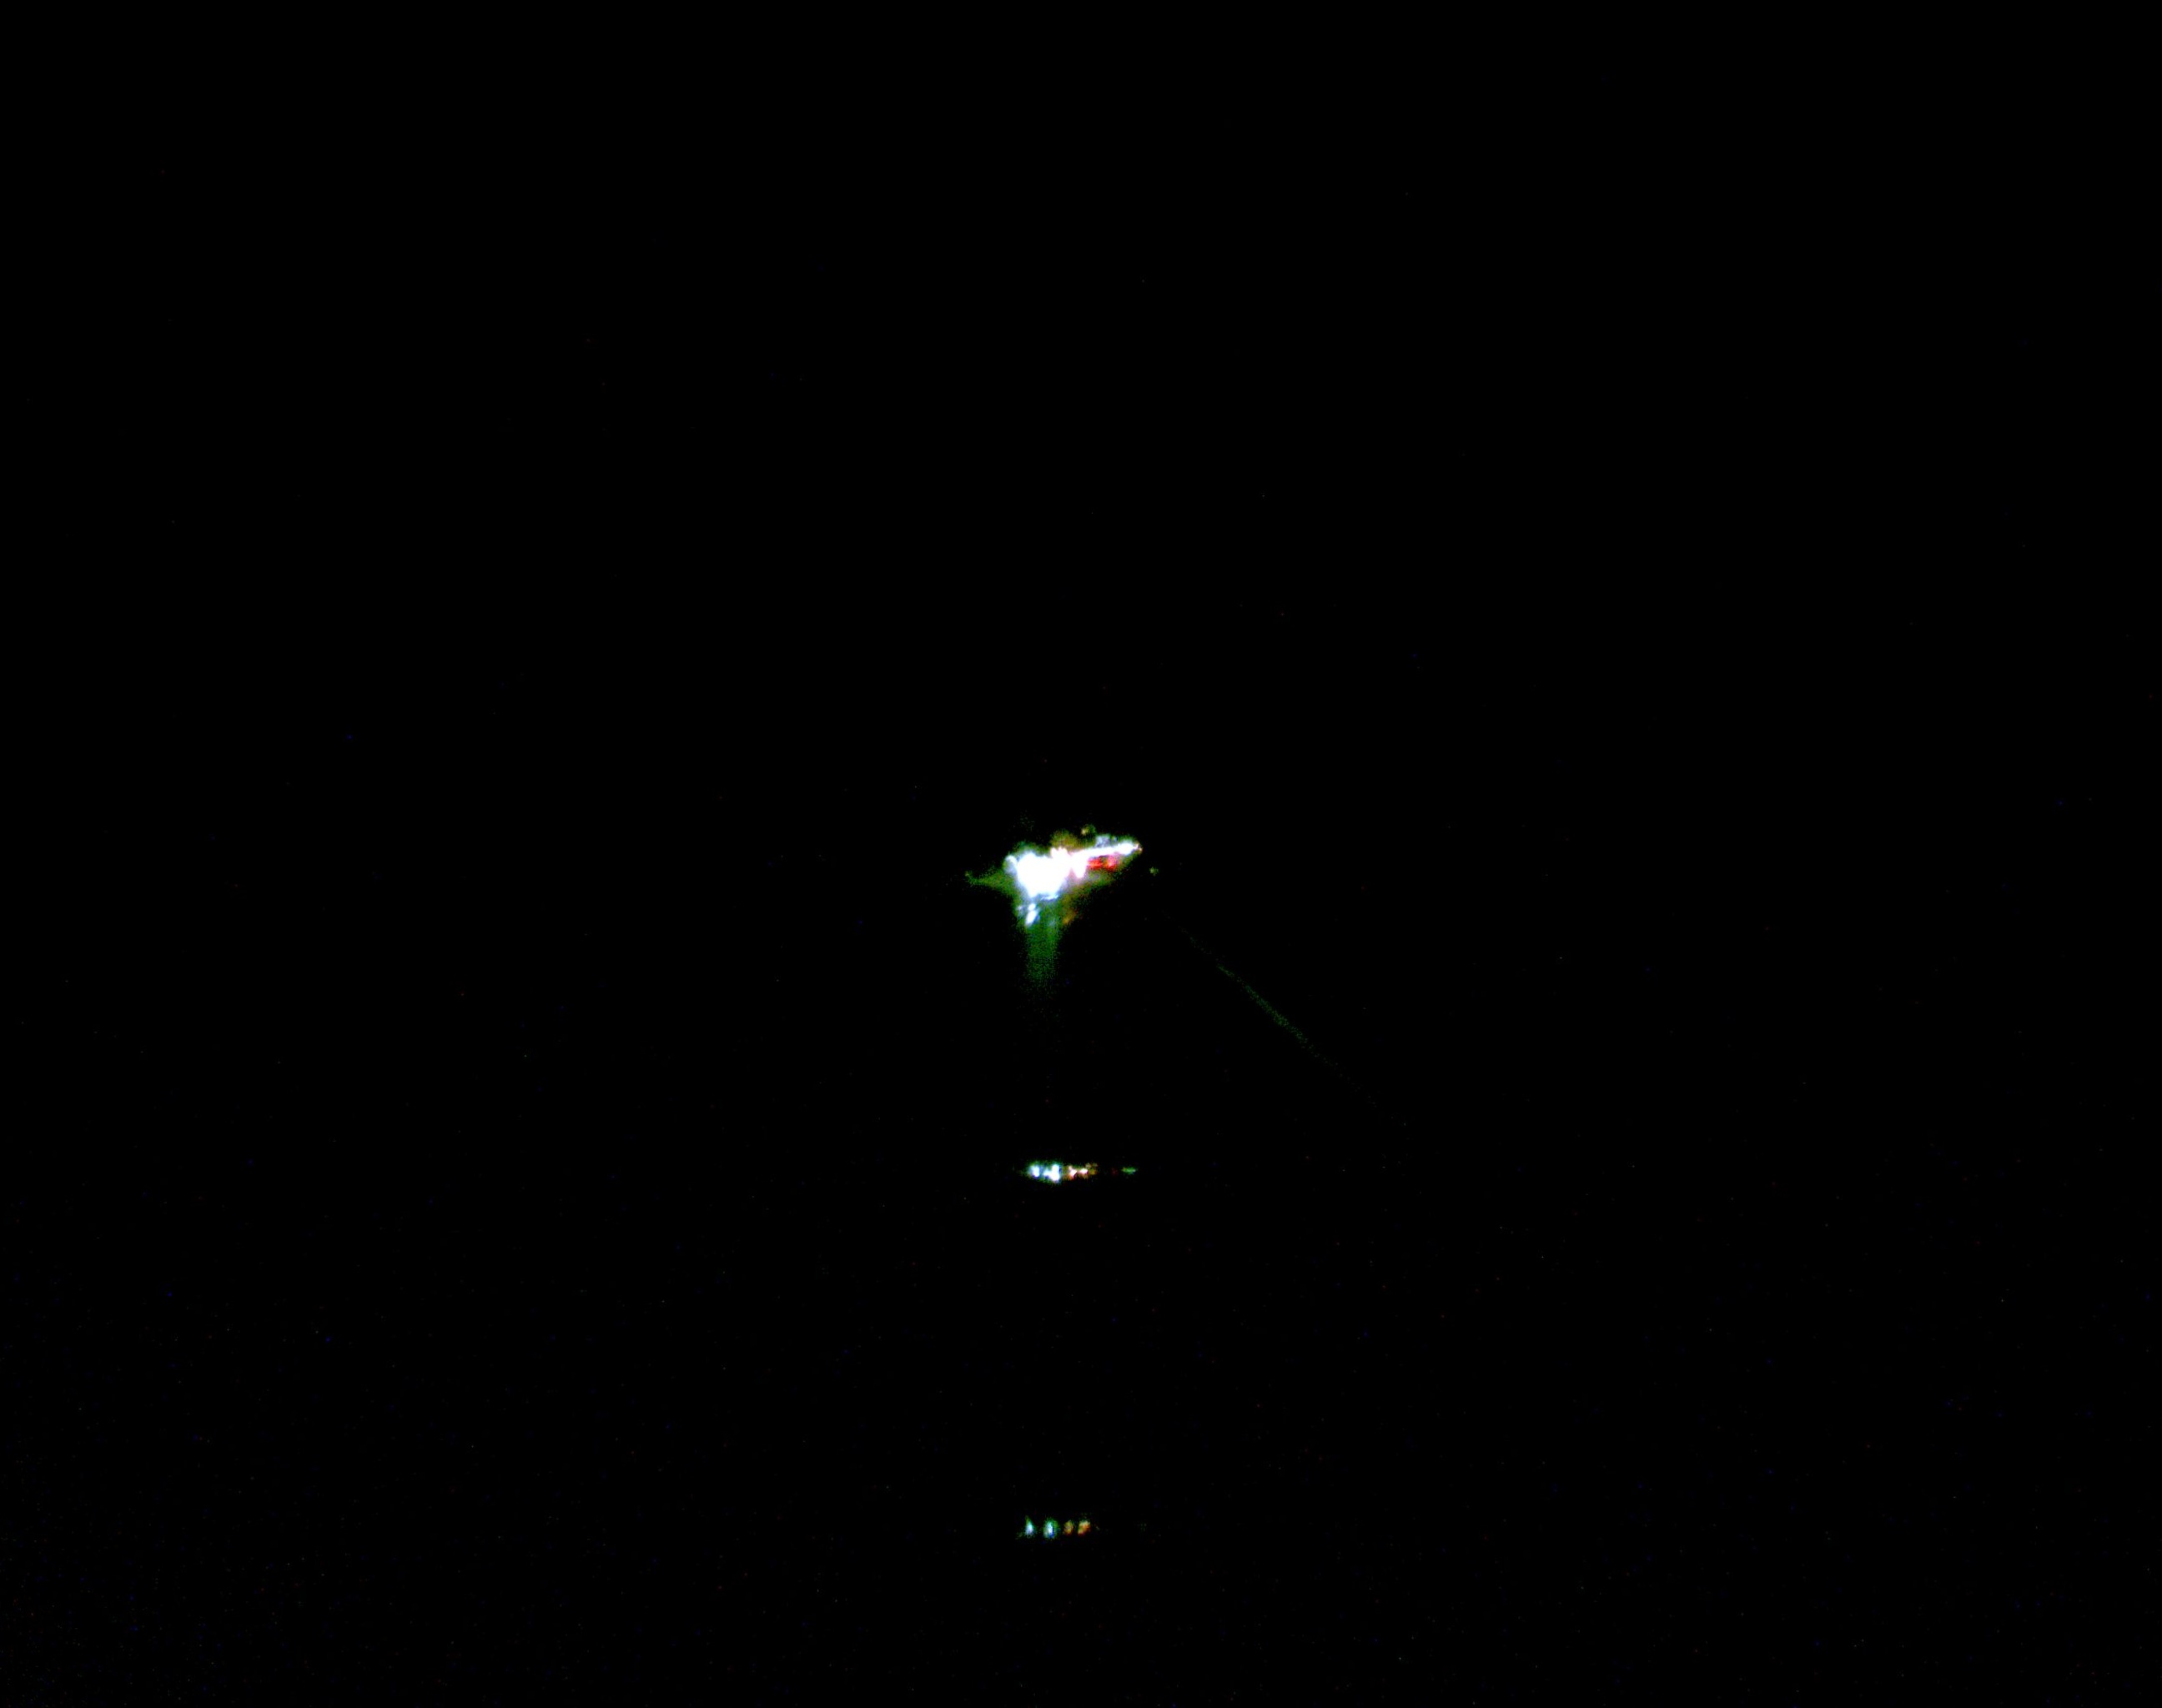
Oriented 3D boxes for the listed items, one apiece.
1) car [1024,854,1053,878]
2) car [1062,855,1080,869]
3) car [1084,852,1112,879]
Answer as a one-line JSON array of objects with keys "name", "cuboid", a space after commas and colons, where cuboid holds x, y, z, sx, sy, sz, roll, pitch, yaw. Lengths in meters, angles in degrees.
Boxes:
[{"name": "car", "cuboid": [-3.145, 0.946, 60.716, 1.989, 1.661, 3.995, 2, -2, -3]}, {"name": "car", "cuboid": [-1.250, 0.998, 99.440, 1.986, 1.661, 4.001, 1, -1, 2]}, {"name": "car", "cuboid": [1.215, 0.786, 57.244, 1.835, 1.740, 4.002, 1, 1, 2]}]
